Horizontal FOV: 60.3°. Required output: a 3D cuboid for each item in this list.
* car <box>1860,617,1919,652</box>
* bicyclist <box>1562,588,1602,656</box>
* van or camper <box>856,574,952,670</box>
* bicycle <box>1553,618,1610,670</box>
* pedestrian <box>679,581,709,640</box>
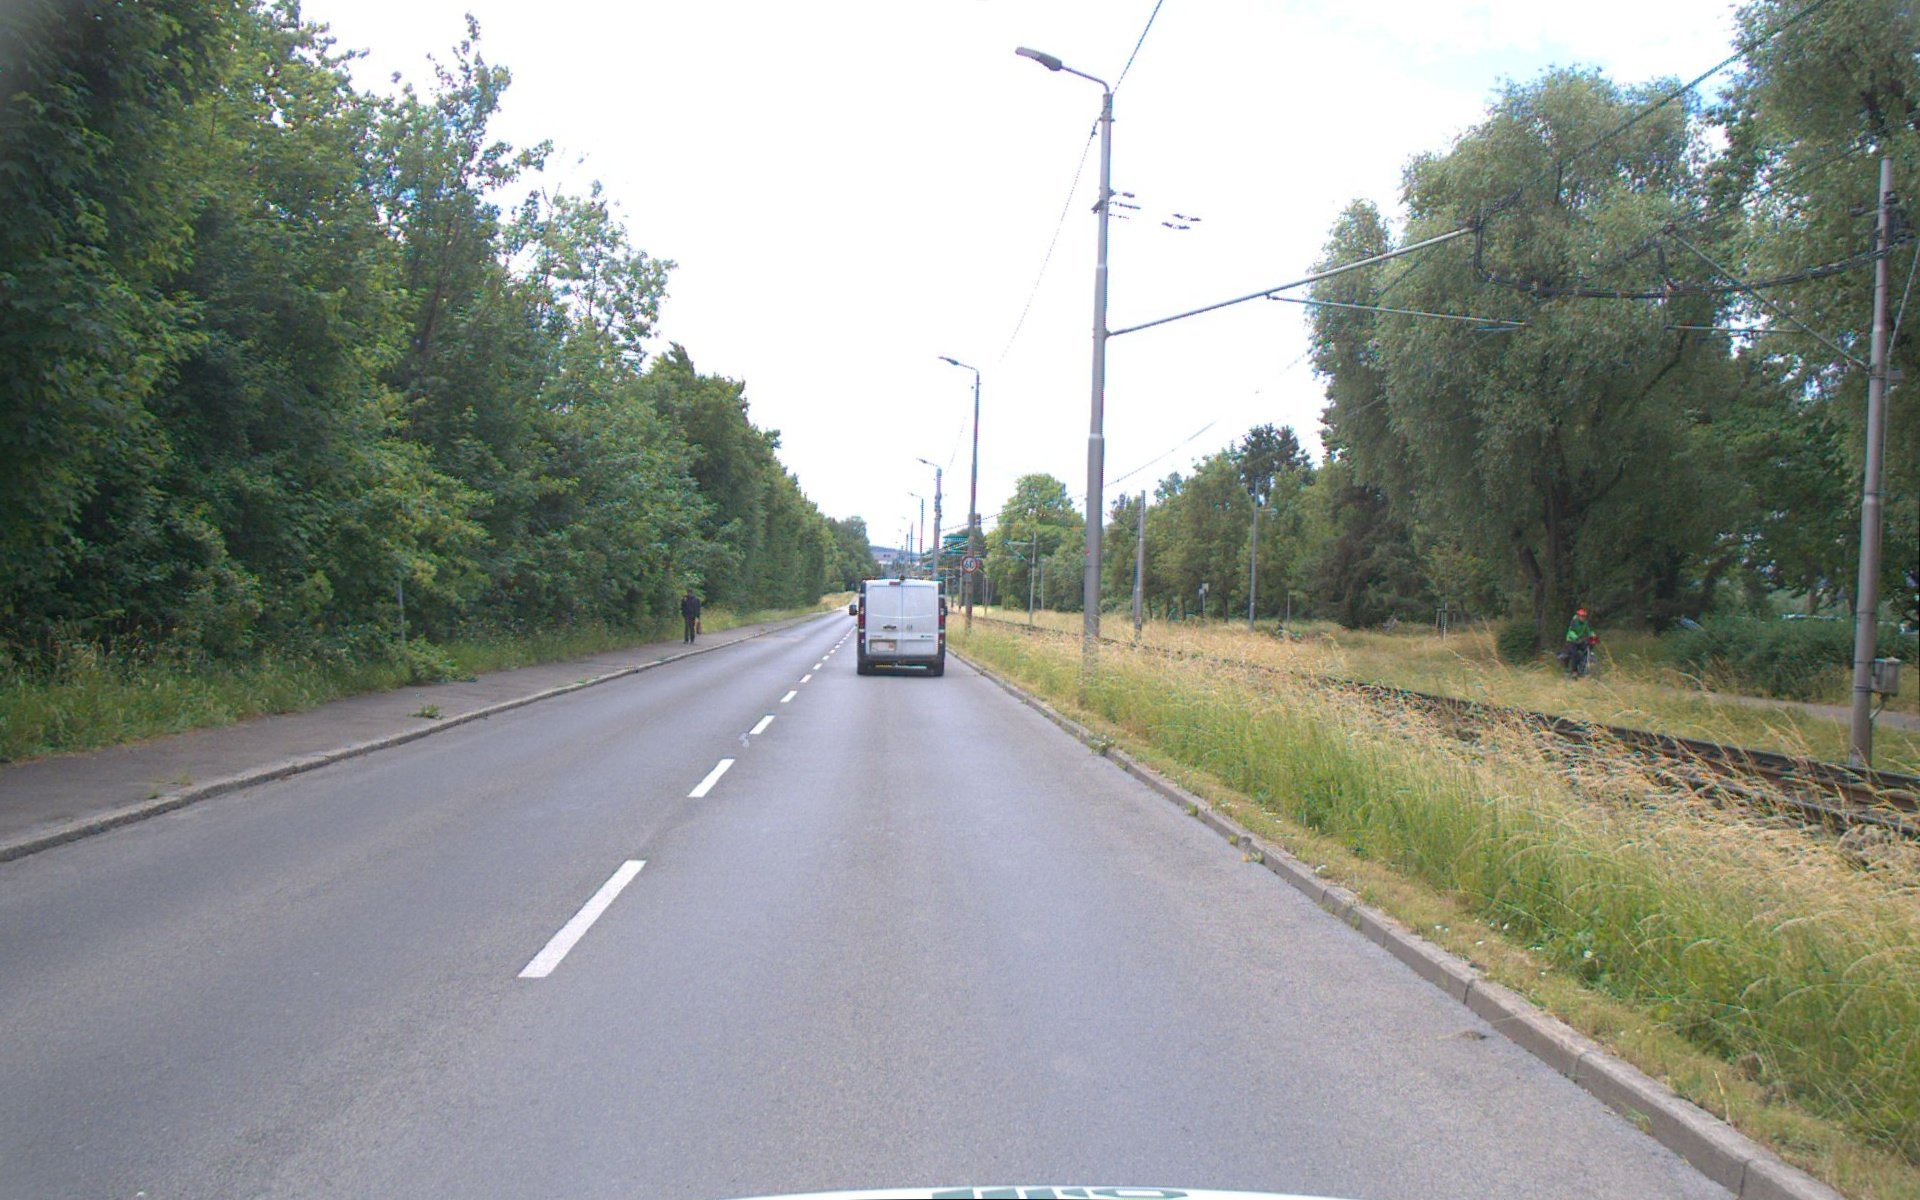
[{"bbox_3d":[53.074,1.965,92.966,1.971,1.844,3.964,2,0,-28],"label":"car"},{"bbox_3d":[16.112,0.563,42.876,0.569,1.726,0.934,2,0,-6],"label":"bicyclist"},{"bbox_3d":[-1.259,0.460,35.349,1.904,1.930,4.281,0,0,-4],"label":"van or camper"},{"bbox_3d":[16.081,1.117,42.848,0.569,1.268,1.927,1,0,-6],"label":"bicycle"},{"bbox_3d":[-8.249,0.324,51.393,0.851,1.800,0.788,-1,0,-6],"label":"pedestrian"}]
